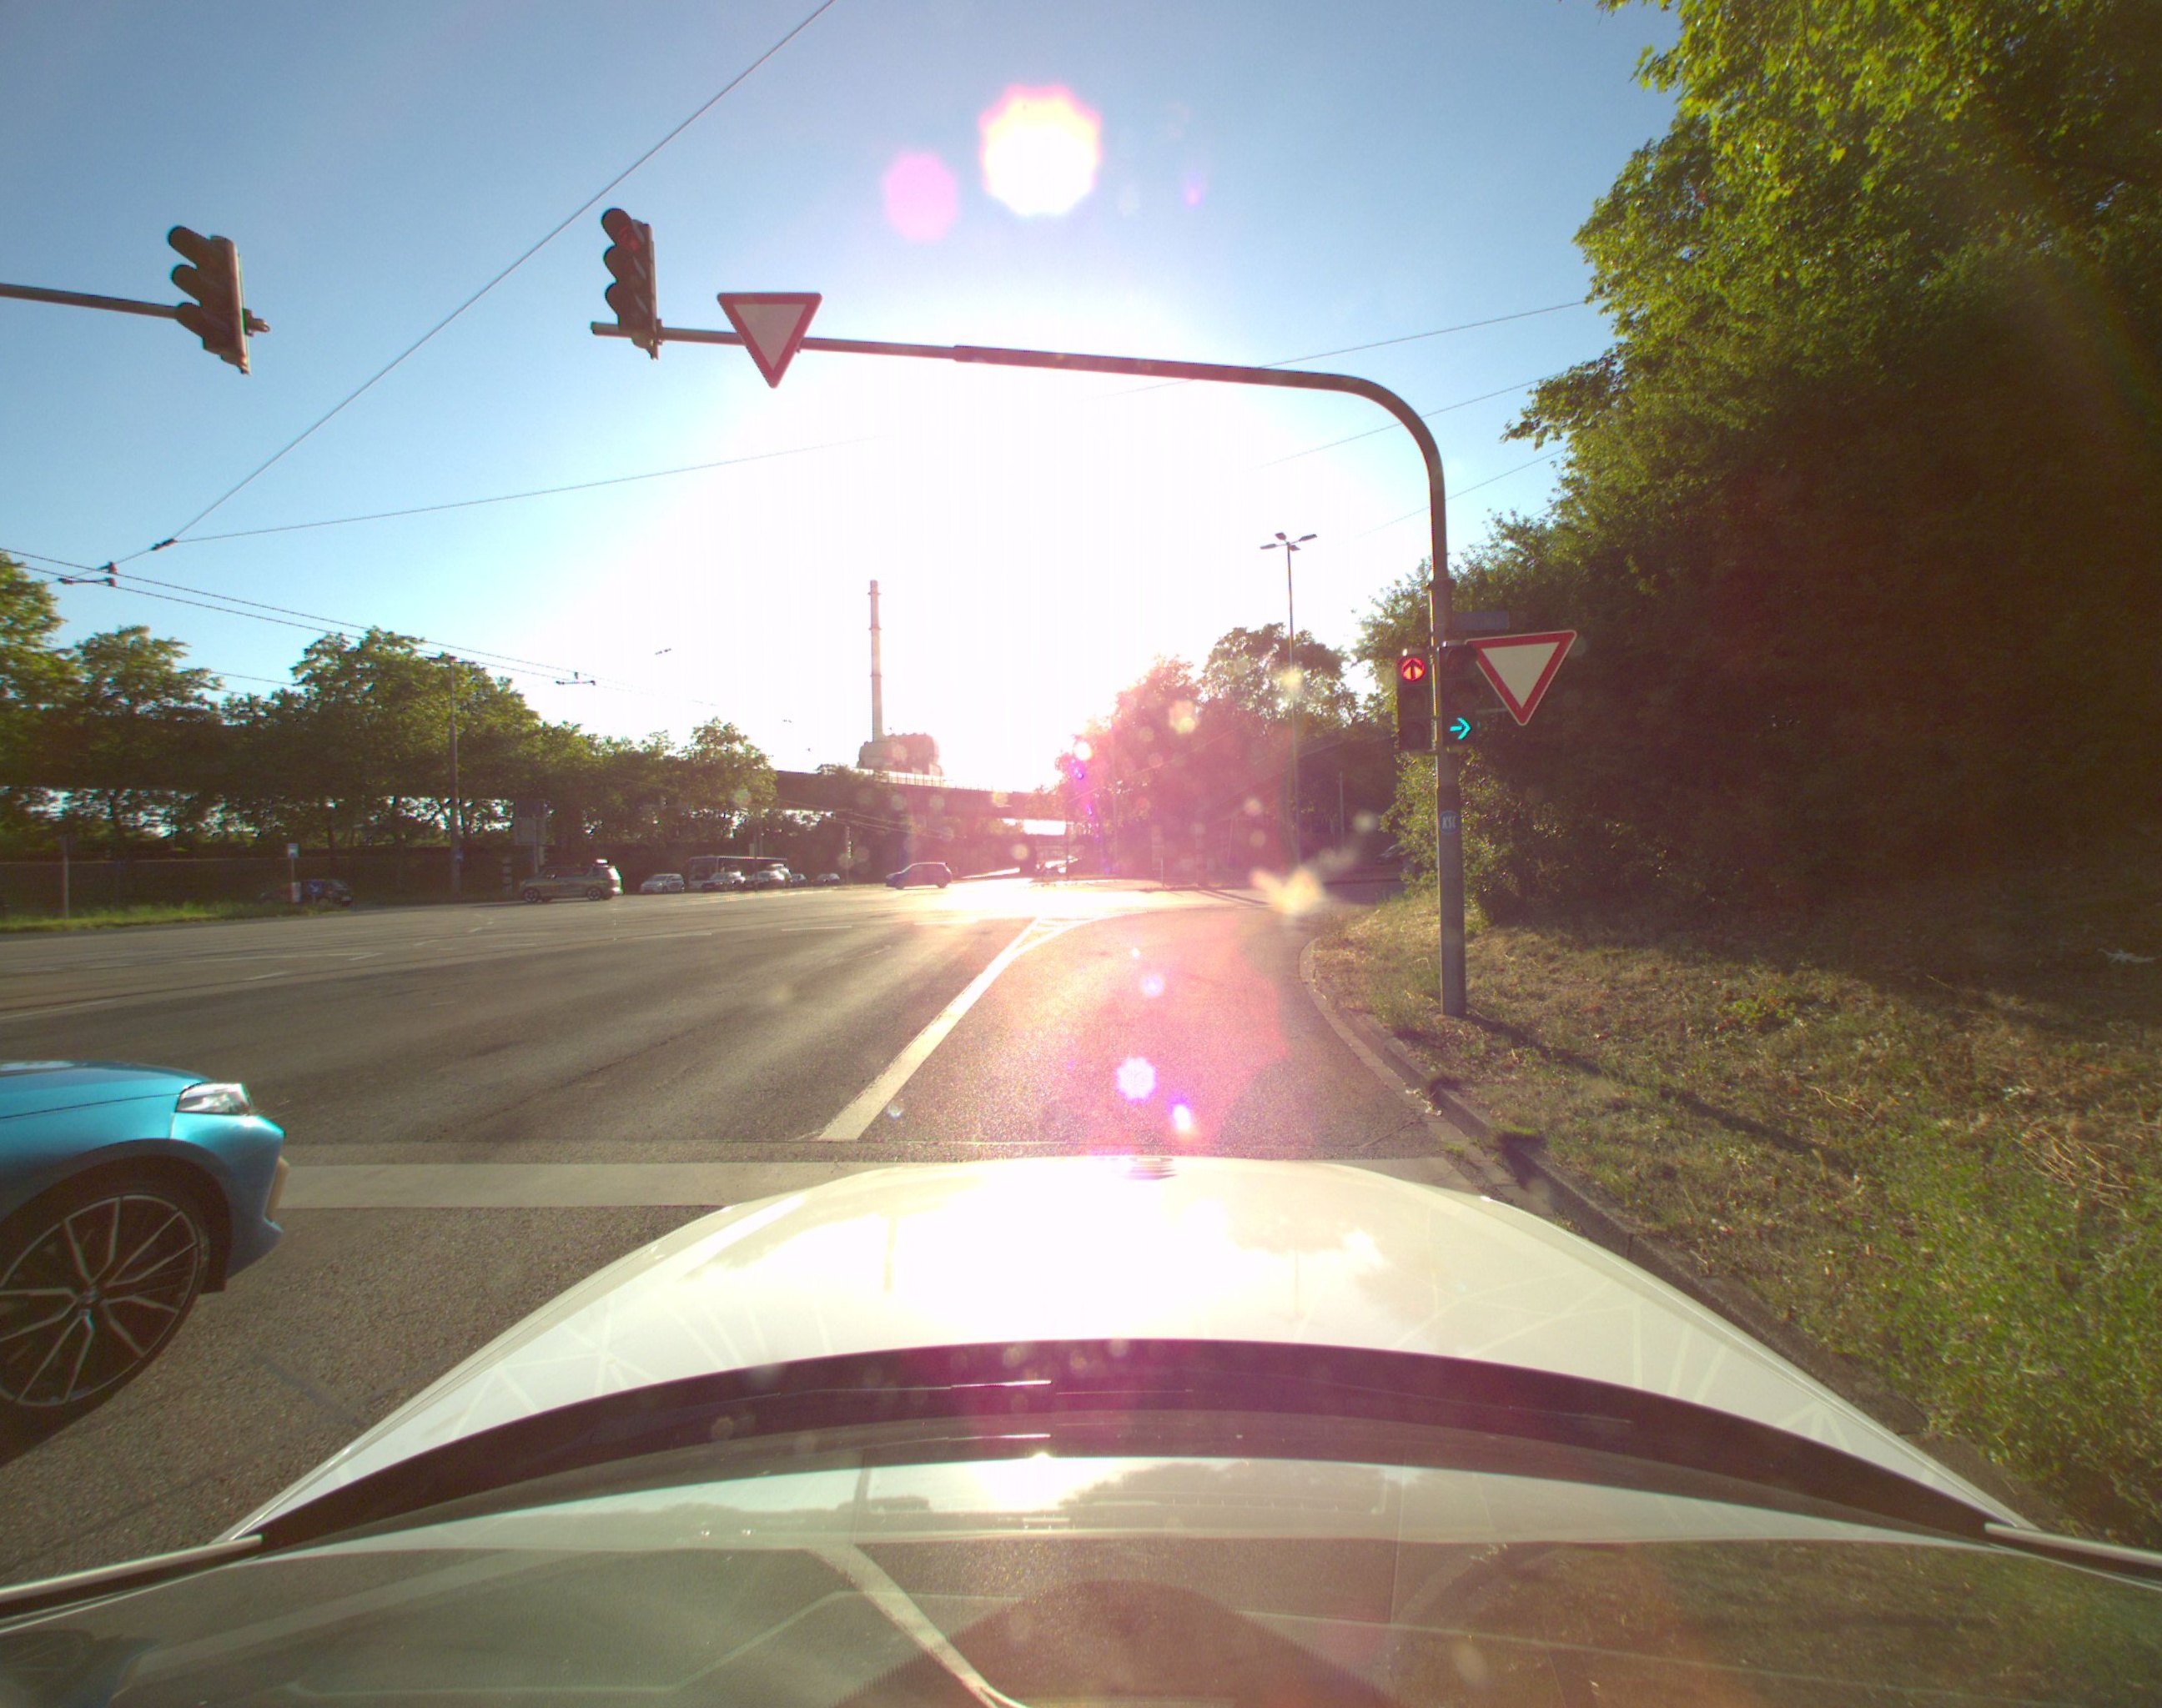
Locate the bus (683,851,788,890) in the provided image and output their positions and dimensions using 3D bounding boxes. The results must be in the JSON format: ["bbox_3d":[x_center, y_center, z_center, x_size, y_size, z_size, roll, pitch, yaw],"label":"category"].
[{"bbox_3d":[-29.538,1.348,70.551,2.810,2.954,12.866,-1,-1,4],"label":"bus"}]

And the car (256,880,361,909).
[{"bbox_3d":[-41.343,2.142,43.667,3.724,1.422,1.690,-1,-1,-12],"label":"car"}]

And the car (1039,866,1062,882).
[{"bbox_3d":[-3.326,2.173,88.451,1.713,1.652,4.199,-1,-1,-14],"label":"car"}]

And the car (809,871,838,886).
[{"bbox_3d":[-27.766,2.632,87.999,1.693,1.442,4.002,-1,-1,2],"label":"car"}]

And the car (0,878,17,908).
[{"bbox_3d":[-52.599,1.870,37.780,3.724,1.422,1.690,-1,-1,-12],"label":"car"}]

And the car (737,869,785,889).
[{"bbox_3d":[-23.524,1.840,59.986,1.704,1.354,4.097,-1,-1,2],"label":"car"}]

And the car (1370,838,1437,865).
[{"bbox_3d":[23.104,-0.172,58.300,4.137,1.867,1.848,-1,-1,-13],"label":"car"}]

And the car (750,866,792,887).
[{"bbox_3d":[-25.713,1.847,67.634,1.704,1.652,4.097,-1,-1,2],"label":"car"}]

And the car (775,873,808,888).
[{"bbox_3d":[-28.886,2.625,81.247,1.693,1.442,4.002,-1,-1,2],"label":"car"}]

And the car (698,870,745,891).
[{"bbox_3d":[-26.245,1.913,59.614,1.599,1.354,3.999,-1,-1,0],"label":"car"}]

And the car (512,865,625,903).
[{"bbox_3d":[-27.303,1.570,43.578,4.696,1.905,1.991,-1,-1,-14],"label":"car"}]

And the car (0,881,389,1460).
[{"bbox_3d":[-3.584,0.813,0.919,1.779,1.417,4.510,-1,-1,-1],"label":"car"}]

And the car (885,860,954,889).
[{"bbox_3d":[-9.552,1.202,48.172,3.927,1.559,1.991,-1,-1,-14],"label":"car"}]

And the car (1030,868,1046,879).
[{"bbox_3d":[-5.835,2.684,111.198,1.685,1.422,4.153,-1,-1,2],"label":"car"}]

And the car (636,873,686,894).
[{"bbox_3d":[-30.194,2.077,58.629,1.599,1.354,3.733,-1,-1,0],"label":"car"}]

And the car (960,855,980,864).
[{"bbox_3d":[-22.647,1.142,166.328,1.974,1.771,4.025,-1,-1,34],"label":"car"}]
